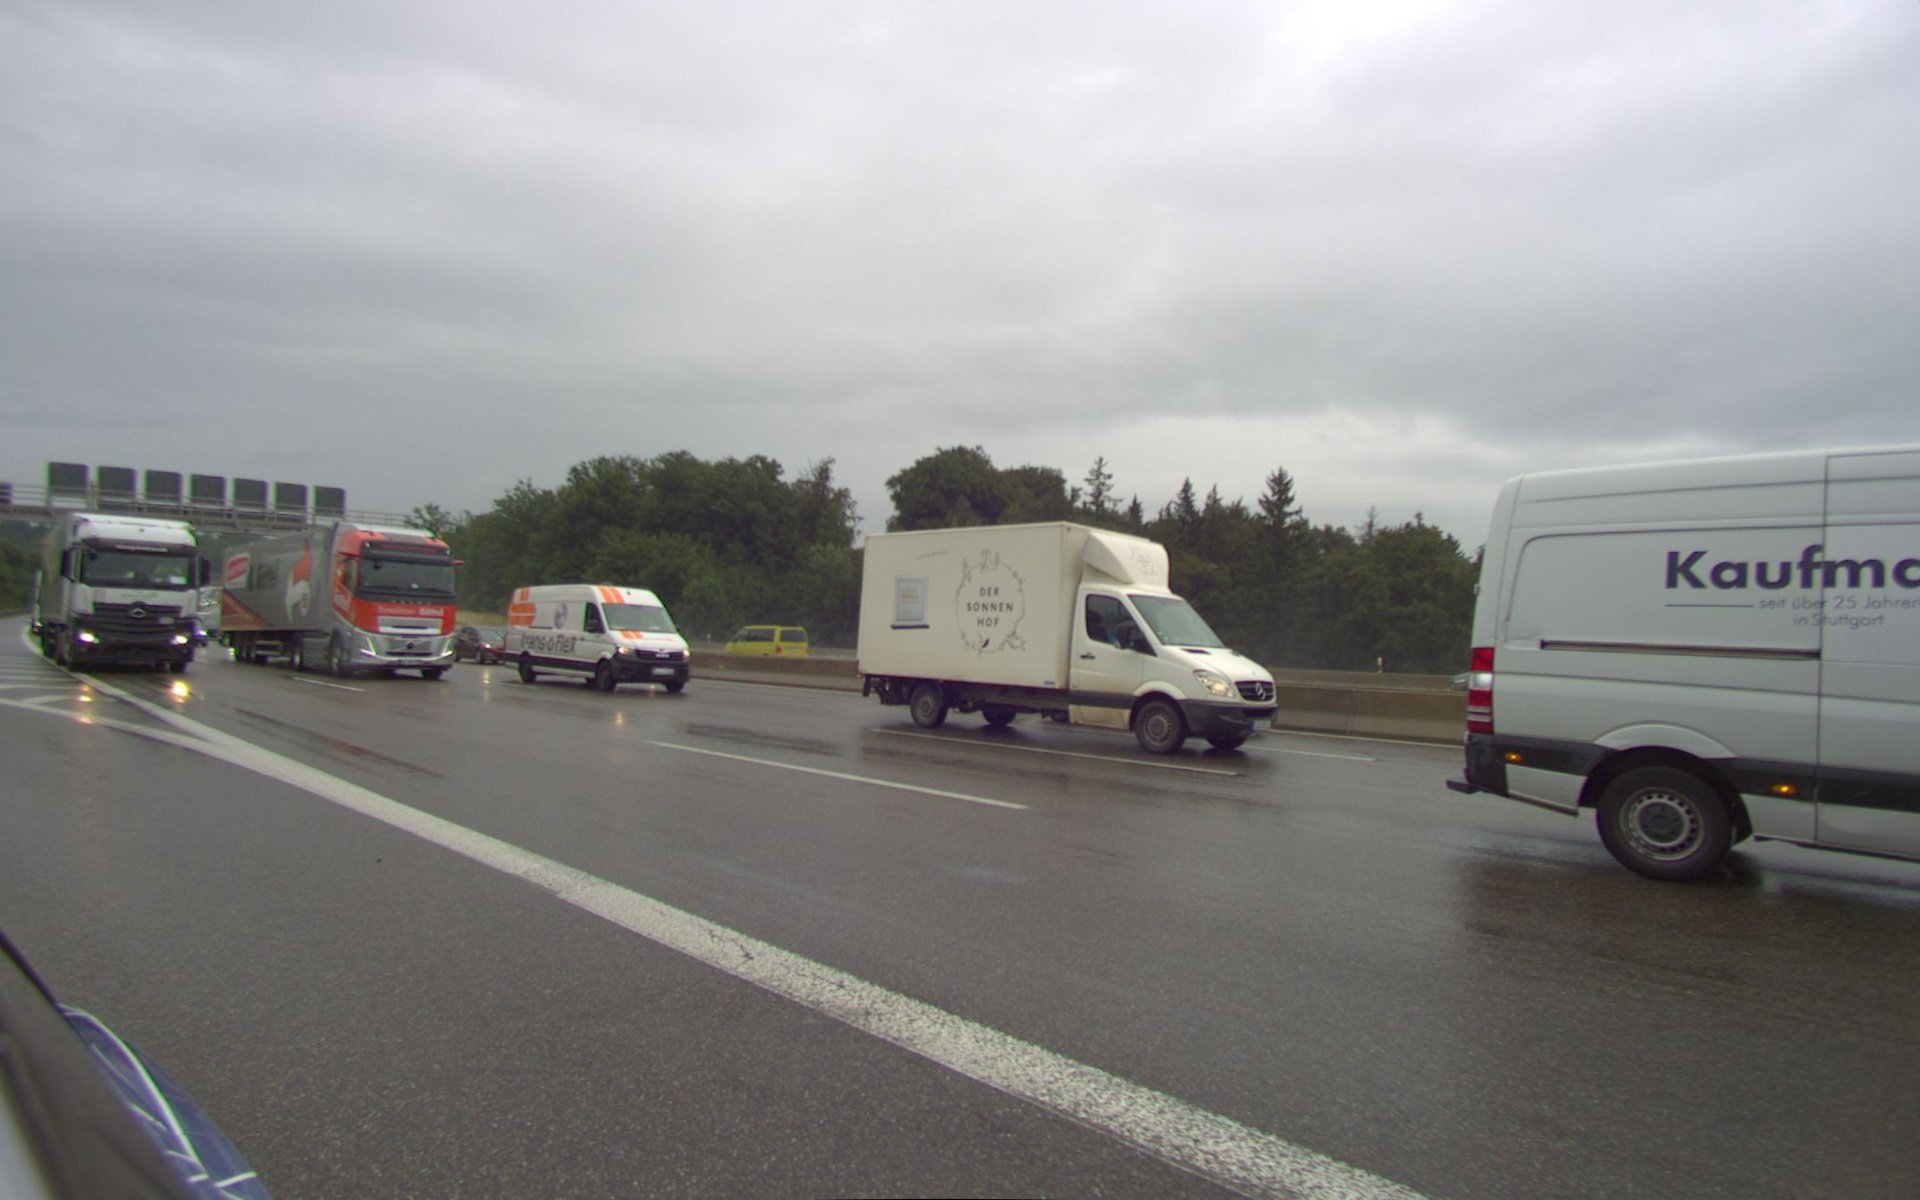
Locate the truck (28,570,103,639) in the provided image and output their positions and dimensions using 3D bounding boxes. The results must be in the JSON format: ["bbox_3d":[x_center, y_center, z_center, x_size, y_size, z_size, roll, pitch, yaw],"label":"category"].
[{"bbox_3d":[-58.119,0.136,65.634,3.307,4.101,12.587,-1,2,-42],"label":"truck"}]

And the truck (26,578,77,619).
[{"bbox_3d":[-90.690,-0.208,100.961,3.487,3.876,9.444,-1,2,-44],"label":"truck"}]

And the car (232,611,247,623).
[{"bbox_3d":[-127.030,2.987,178.516,1.968,2.029,4.584,1,-1,-38],"label":"car"}]

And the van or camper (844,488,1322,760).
[{"bbox_3d":[1.518,0.345,15.444,7.133,3.228,2.550,0,-3,44],"label":"van or camper"}]

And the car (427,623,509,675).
[{"bbox_3d":[-19.539,1.884,40.112,1.730,1.785,4.003,-1,2,-44],"label":"car"}]

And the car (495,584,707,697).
[{"bbox_3d":[-9.340,0.950,25.786,2.123,2.507,7.370,3,-3,-45],"label":"car"}]

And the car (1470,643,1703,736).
[{"bbox_3d":[13.463,1.845,21.894,4.002,1.690,1.821,-1,-1,45],"label":"car"}]

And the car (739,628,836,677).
[{"bbox_3d":[-7.924,2.328,46.196,4.739,2.029,1.971,-1,-1,44],"label":"car"}]

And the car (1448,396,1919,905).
[{"bbox_3d":[6.177,0.294,5.636,5.846,2.649,2.190,0,-3,45],"label":"car"}]

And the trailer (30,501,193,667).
[{"bbox_3d":[-27.003,-0.360,31.830,2.884,4.237,13.647,3,-2,-44],"label":"trailer"}]

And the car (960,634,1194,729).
[{"bbox_3d":[2.135,1.468,19.380,1.596,1.534,4.417,3,-3,-45],"label":"car"}]

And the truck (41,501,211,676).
[{"bbox_3d":[-22.586,-0.222,27.264,2.884,4.130,6.724,3,-2,-44],"label":"truck"}]

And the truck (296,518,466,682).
[{"bbox_3d":[-15.295,0.070,26.630,4.590,3.893,2.597,-1,-3,44],"label":"truck"}]

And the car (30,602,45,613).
[{"bbox_3d":[-157.942,1.248,173.244,1.792,1.770,4.691,2,-2,-43],"label":"car"}]

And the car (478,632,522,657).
[{"bbox_3d":[-35.303,3.384,77.658,1.969,1.829,4.110,1,-1,-41],"label":"car"}]

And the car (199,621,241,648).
[{"bbox_3d":[-48.470,2.228,66.259,1.968,1.683,4.189,1,-1,-40],"label":"car"}]

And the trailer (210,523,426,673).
[{"bbox_3d":[-20.709,0.060,32.007,13.682,3.893,2.597,-1,-3,45],"label":"trailer"}]
